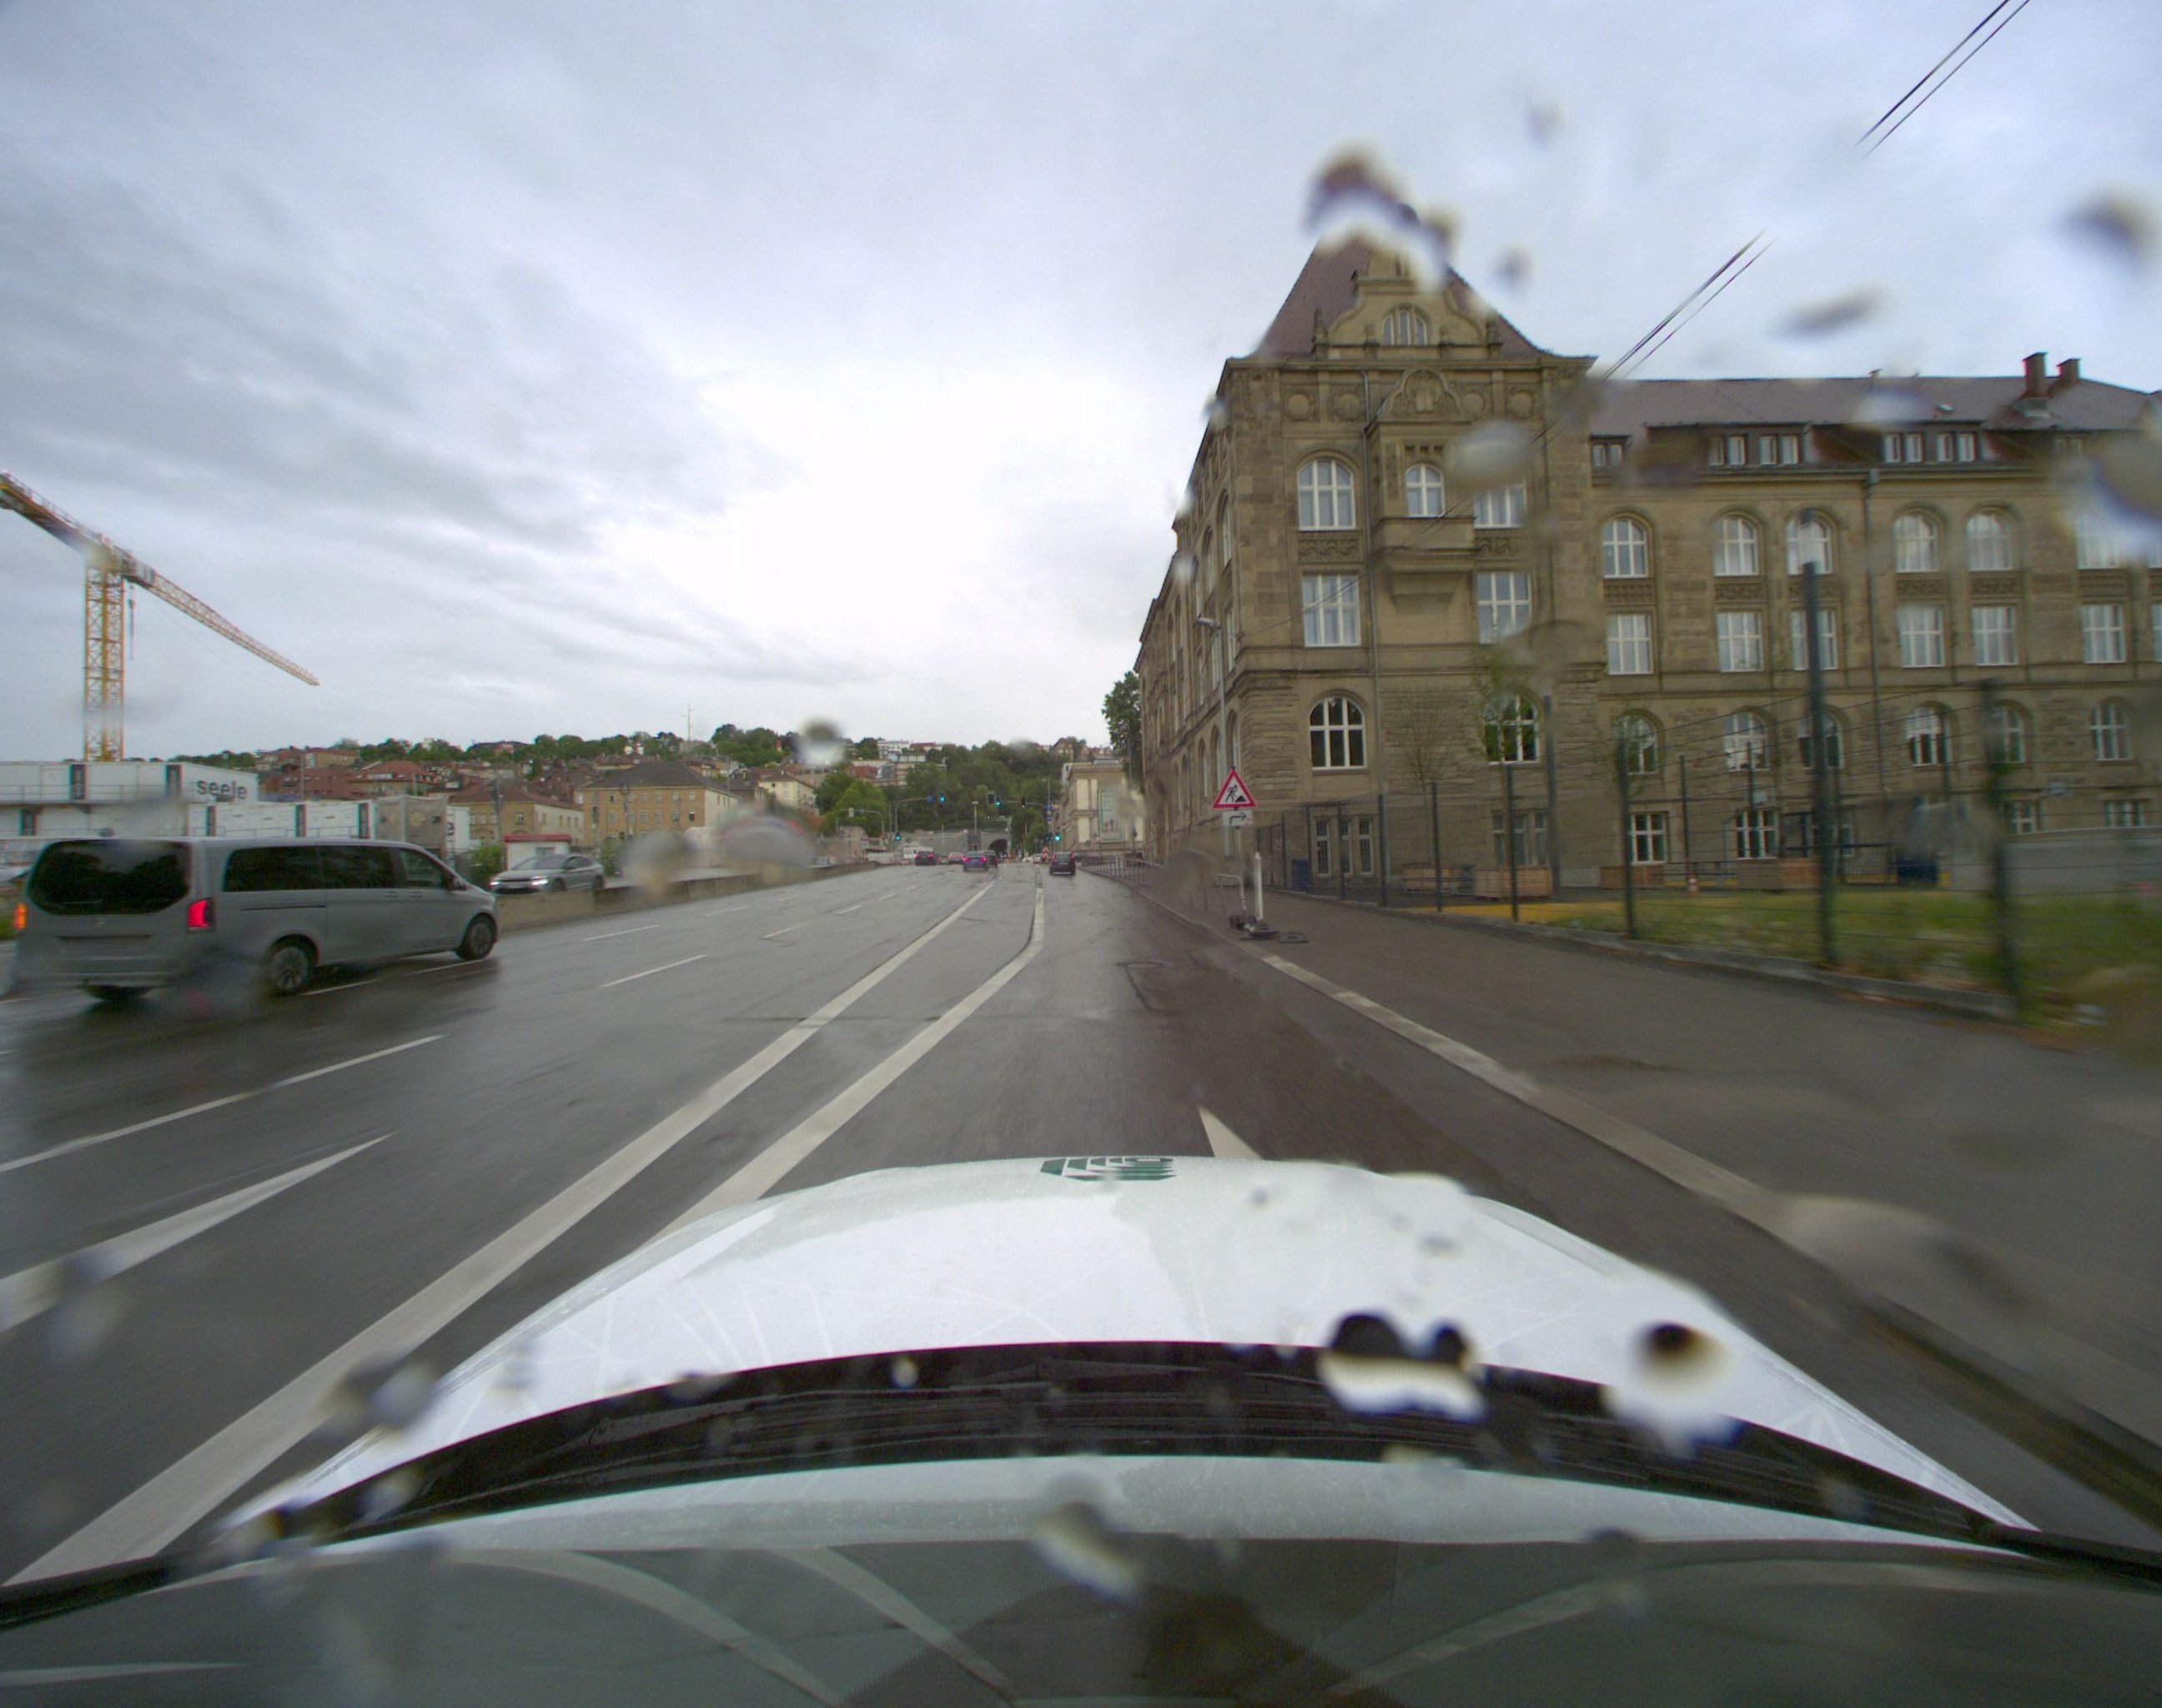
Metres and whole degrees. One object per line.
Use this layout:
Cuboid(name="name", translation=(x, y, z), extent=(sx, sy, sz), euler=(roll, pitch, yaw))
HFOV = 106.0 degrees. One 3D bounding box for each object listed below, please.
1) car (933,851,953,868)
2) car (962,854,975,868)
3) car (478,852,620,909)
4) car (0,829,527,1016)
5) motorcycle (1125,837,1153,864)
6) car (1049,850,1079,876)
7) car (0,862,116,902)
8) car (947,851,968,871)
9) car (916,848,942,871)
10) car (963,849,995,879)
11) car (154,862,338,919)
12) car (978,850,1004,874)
Cuboid(name="car", translation=(-18.041, 0.734, 106.550), extent=(1.988, 2.014, 3.996), euler=(-3, -2, -2))
Cuboid(name="car", translation=(-17.900, 1.130, 130.047), extent=(1.992, 2.014, 3.989), euler=(-2, -1, -8))
Cuboid(name="car", translation=(-18.813, 0.953, 29.167), extent=(1.991, 1.756, 5.287), euler=(-2, -2, -5))
Cuboid(name="car", translation=(-10.123, 0.746, 10.887), extent=(1.989, 1.856, 5.350), euler=(-1, -1, -3))
Cuboid(name="motorcycle", translation=(4.509, -0.300, 63.690), extent=(1.790, 2.013, 3.812), euler=(-2, 0, -1))
Cuboid(name="car", translation=(-1.143, 0.641, 53.192), extent=(1.807, 1.527, 3.996), euler=(-3, -2, -2))
Cuboid(name="car", translation=(-56.294, 1.477, 44.327), extent=(1.996, 2.013, 5.289), euler=(-2, 0, -13))
Cuboid(name="car", translation=(-13.880, 0.799, 91.543), extent=(2.048, 2.014, 3.992), euler=(-2, -2, -5))
Cuboid(name="car", translation=(-14.703, 0.548, 78.831), extent=(2.013, 2.014, 3.993), euler=(-2, -2, -4))
Cuboid(name="car", translation=(-7.673, 0.782, 61.409), extent=(2.101, 2.051, 3.993), euler=(-2, -2, -4))
Cuboid(name="car", translation=(-27.742, 1.147, 27.276), extent=(1.987, 1.622, 3.999), euler=(-2, 0, -1))
Cuboid(name="car", translation=(-8.247, 0.723, 74.667), extent=(1.769, 2.014, 4.000), euler=(-3, -2, 1))
